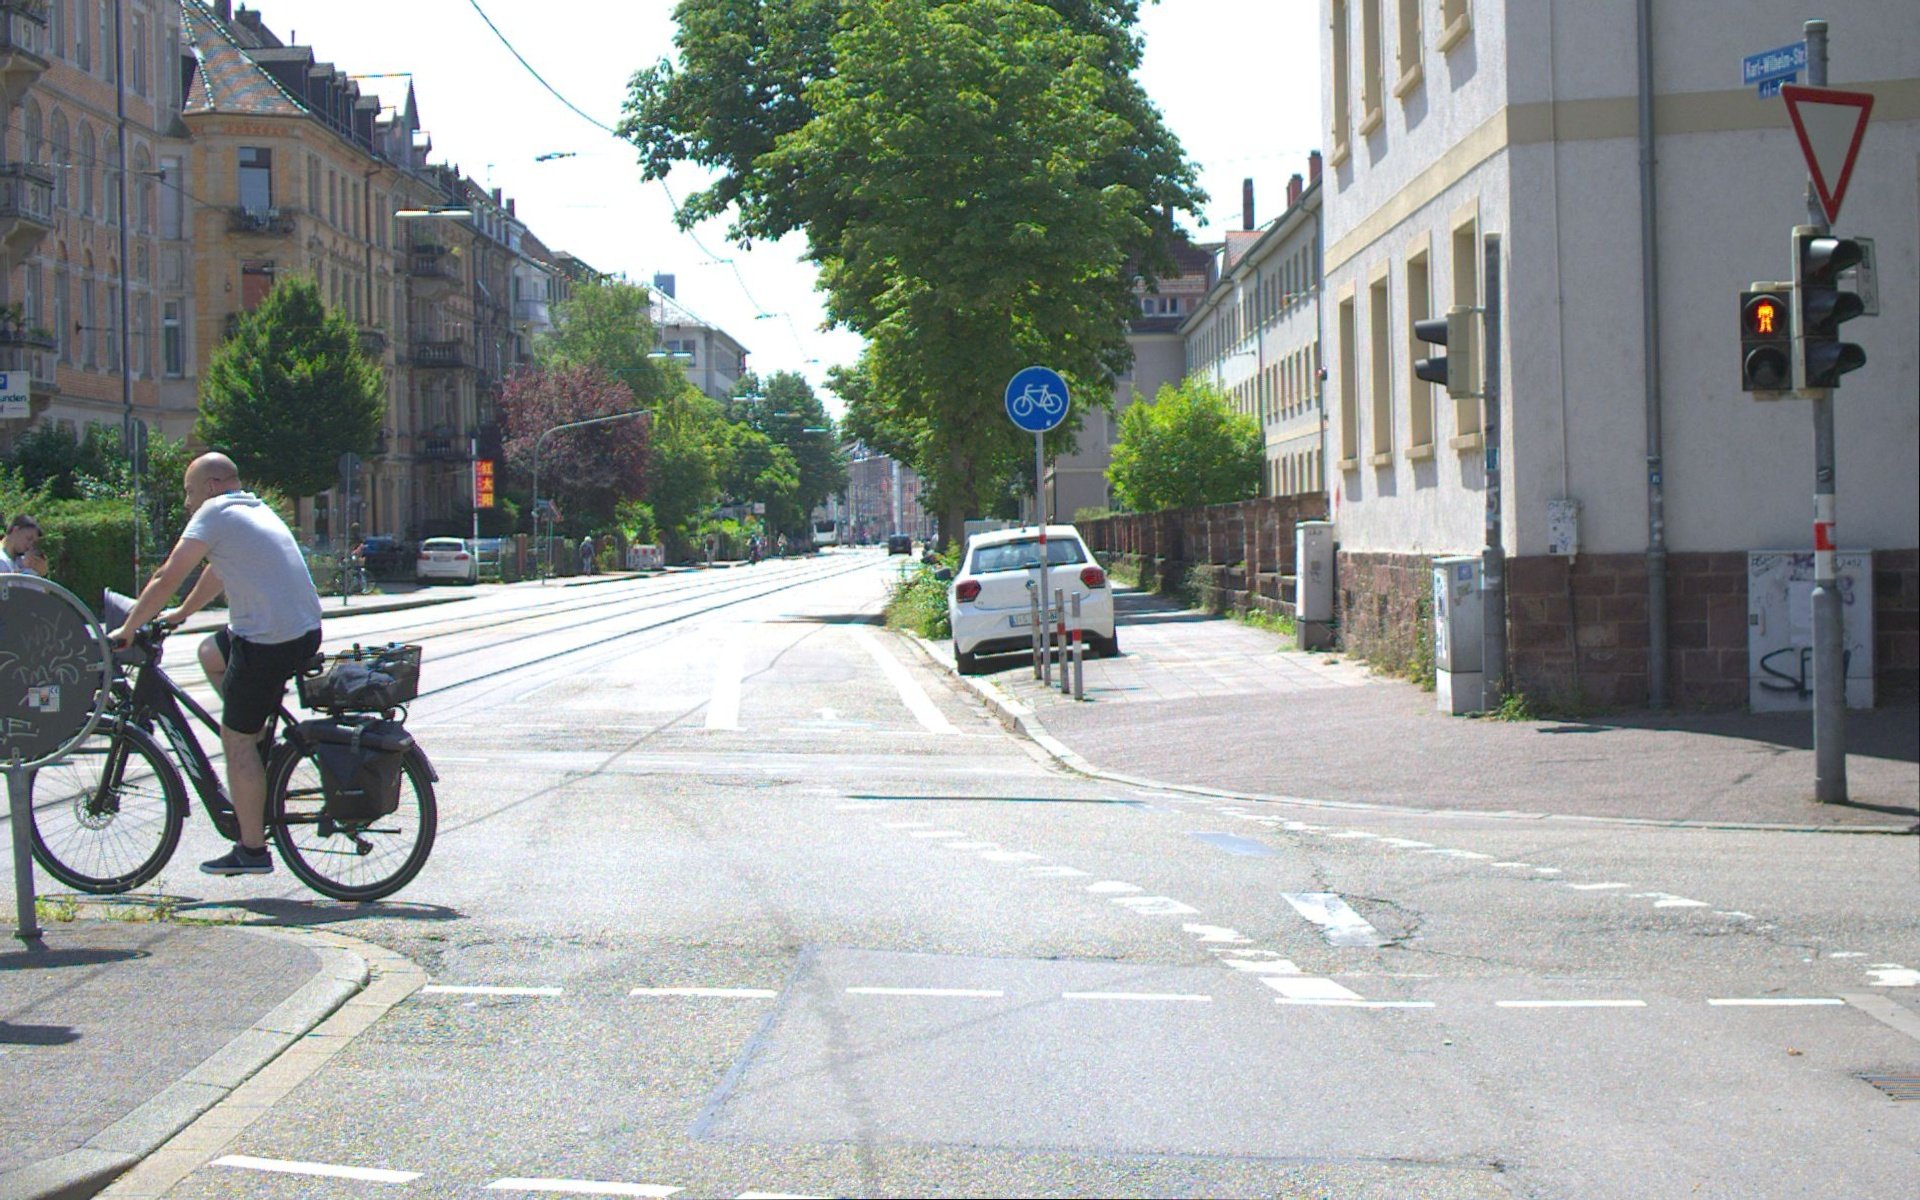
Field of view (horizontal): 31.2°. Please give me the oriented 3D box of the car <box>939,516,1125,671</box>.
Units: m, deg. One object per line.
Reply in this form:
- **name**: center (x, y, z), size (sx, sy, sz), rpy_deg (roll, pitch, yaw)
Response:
- **car**: center (0.724, -0.088, 37.321), size (1.815, 1.511, 4.000), rpy_deg (-3, 1, -1)

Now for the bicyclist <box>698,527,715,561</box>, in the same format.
- **bicyclist**: center (-12.478, -2.758, 169.303), size (0.727, 1.623, 1.079), rpy_deg (1, 0, 1)

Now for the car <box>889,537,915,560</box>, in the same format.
- **car**: center (-4.053, -3.590, 240.557), size (1.825, 1.514, 4.000), rpy_deg (1, 1, -1)

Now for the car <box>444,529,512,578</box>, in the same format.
- **car**: center (-17.329, -1.672, 123.821), size (1.919, 1.709, 4.000), rpy_deg (1, 1, -1)

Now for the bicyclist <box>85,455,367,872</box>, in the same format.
- **bicyclist**: center (-2.879, 0.239, 13.529), size (0.847, 1.587, 0.699), rpy_deg (0, 1, 15)

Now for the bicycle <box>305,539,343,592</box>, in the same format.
- **bicycle**: center (-15.658, -0.856, 84.660), size (0.677, 1.274, 1.919), rpy_deg (-1, 1, -3)

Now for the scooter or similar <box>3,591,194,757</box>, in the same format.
- **scooter or similar**: center (-6.134, 0.519, 24.510), size (1.201, 1.151, 0.558), rpy_deg (1, 0, 1)

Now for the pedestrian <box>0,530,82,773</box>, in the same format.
- **pedestrian**: center (-6.450, 0.342, 23.543), size (0.675, 1.640, 0.558), rpy_deg (1, 0, 6)

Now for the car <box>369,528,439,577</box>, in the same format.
- **car**: center (-20.016, -1.709, 123.894), size (1.919, 1.709, 4.000), rpy_deg (1, 1, -1)

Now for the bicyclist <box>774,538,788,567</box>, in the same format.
- **bicyclist**: center (-11.109, -2.946, 213.464), size (0.727, 1.812, 1.079), rpy_deg (1, 0, 1)

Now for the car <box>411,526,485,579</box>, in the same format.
- **car**: center (-17.186, -1.586, 115.557), size (1.919, 1.709, 4.000), rpy_deg (1, 1, -1)

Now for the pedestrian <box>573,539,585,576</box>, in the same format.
- **pedestrian**: center (-15.063, -1.687, 135.980), size (0.406, 1.456, 0.436), rpy_deg (-1, 1, -1)

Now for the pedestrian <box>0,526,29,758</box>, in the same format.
- **pedestrian**: center (-7.085, 0.291, 24.552), size (0.675, 1.640, 0.558), rpy_deg (1, 0, 6)

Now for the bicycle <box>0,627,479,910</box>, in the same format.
- **bicycle**: center (-2.856, 0.642, 13.536), size (1.762, 1.053, 0.699), rpy_deg (0, 1, 15)

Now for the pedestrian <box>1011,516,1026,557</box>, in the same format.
- **pedestrian**: center (2.247, -2.424, 131.605), size (0.521, 1.557, 0.573), rpy_deg (-1, 1, -1)
